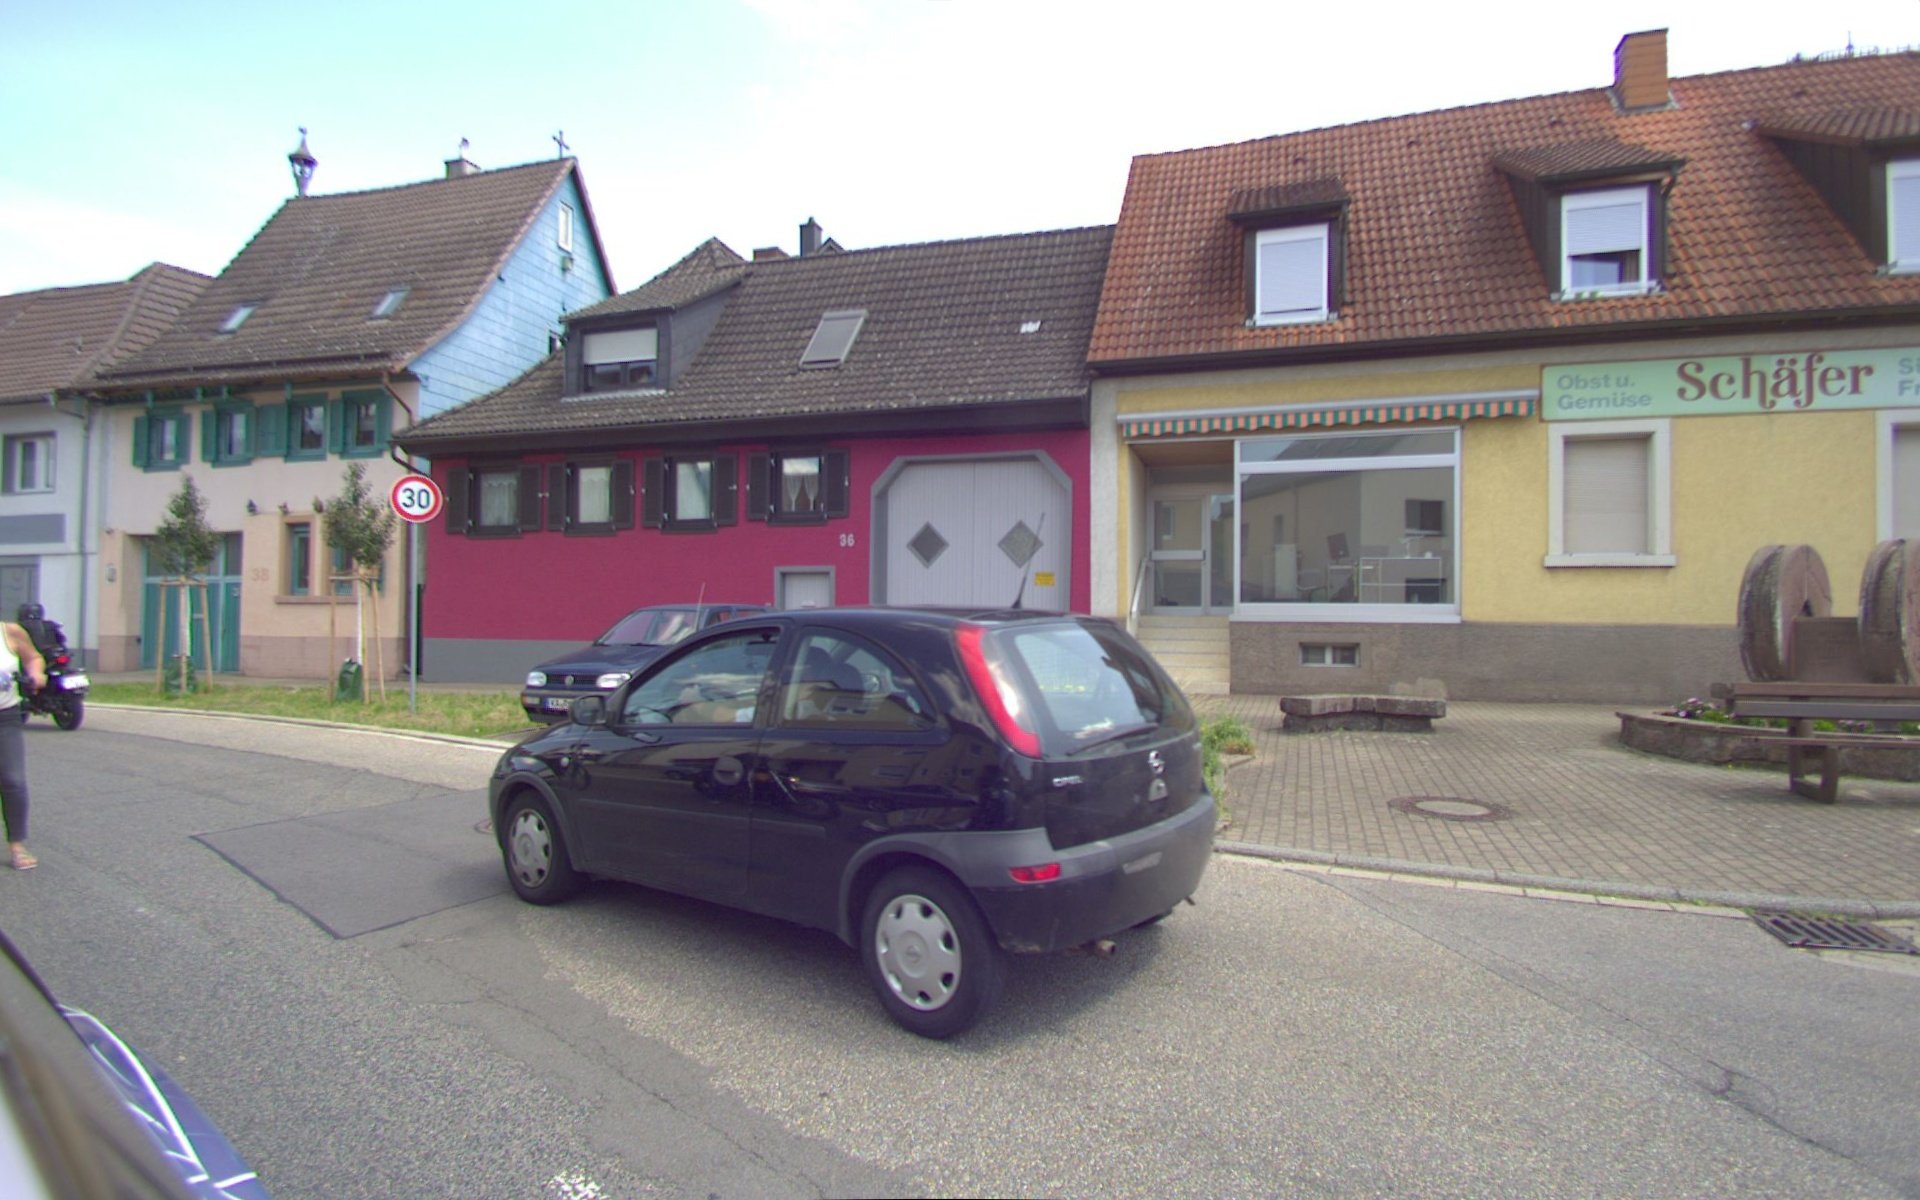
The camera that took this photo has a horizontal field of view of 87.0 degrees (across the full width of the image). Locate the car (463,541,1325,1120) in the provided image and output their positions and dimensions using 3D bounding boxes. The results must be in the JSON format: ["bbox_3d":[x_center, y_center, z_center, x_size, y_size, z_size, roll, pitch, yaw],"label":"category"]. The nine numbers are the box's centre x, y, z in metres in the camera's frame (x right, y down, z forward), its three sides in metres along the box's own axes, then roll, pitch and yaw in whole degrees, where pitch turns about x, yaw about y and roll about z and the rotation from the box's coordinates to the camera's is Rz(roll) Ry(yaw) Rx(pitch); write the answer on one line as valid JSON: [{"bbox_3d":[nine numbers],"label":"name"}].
[{"bbox_3d":[-0.565,0.590,4.511,3.852,1.551,1.485,1,0,39],"label":"car"}]

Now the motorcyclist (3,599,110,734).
[{"bbox_3d":[-11.018,0.782,12.348,0.807,1.566,0.887,-2,-2,42],"label":"motorcyclist"}]

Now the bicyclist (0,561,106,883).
[{"bbox_3d":[-5.384,0.637,5.518,0.758,1.701,0.901,1,0,30],"label":"bicyclist"}]

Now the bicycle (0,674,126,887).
[{"bbox_3d":[-5.661,0.963,5.656,1.916,1.019,0.925,-2,-1,30],"label":"bicycle"}]

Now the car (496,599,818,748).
[{"bbox_3d":[-3.383,0.724,12.135,1.708,1.475,3.953,0,0,20],"label":"car"}]

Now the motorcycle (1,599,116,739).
[{"bbox_3d":[-11.033,0.802,12.367,1.967,1.573,0.870,-2,-2,43],"label":"motorcycle"}]
